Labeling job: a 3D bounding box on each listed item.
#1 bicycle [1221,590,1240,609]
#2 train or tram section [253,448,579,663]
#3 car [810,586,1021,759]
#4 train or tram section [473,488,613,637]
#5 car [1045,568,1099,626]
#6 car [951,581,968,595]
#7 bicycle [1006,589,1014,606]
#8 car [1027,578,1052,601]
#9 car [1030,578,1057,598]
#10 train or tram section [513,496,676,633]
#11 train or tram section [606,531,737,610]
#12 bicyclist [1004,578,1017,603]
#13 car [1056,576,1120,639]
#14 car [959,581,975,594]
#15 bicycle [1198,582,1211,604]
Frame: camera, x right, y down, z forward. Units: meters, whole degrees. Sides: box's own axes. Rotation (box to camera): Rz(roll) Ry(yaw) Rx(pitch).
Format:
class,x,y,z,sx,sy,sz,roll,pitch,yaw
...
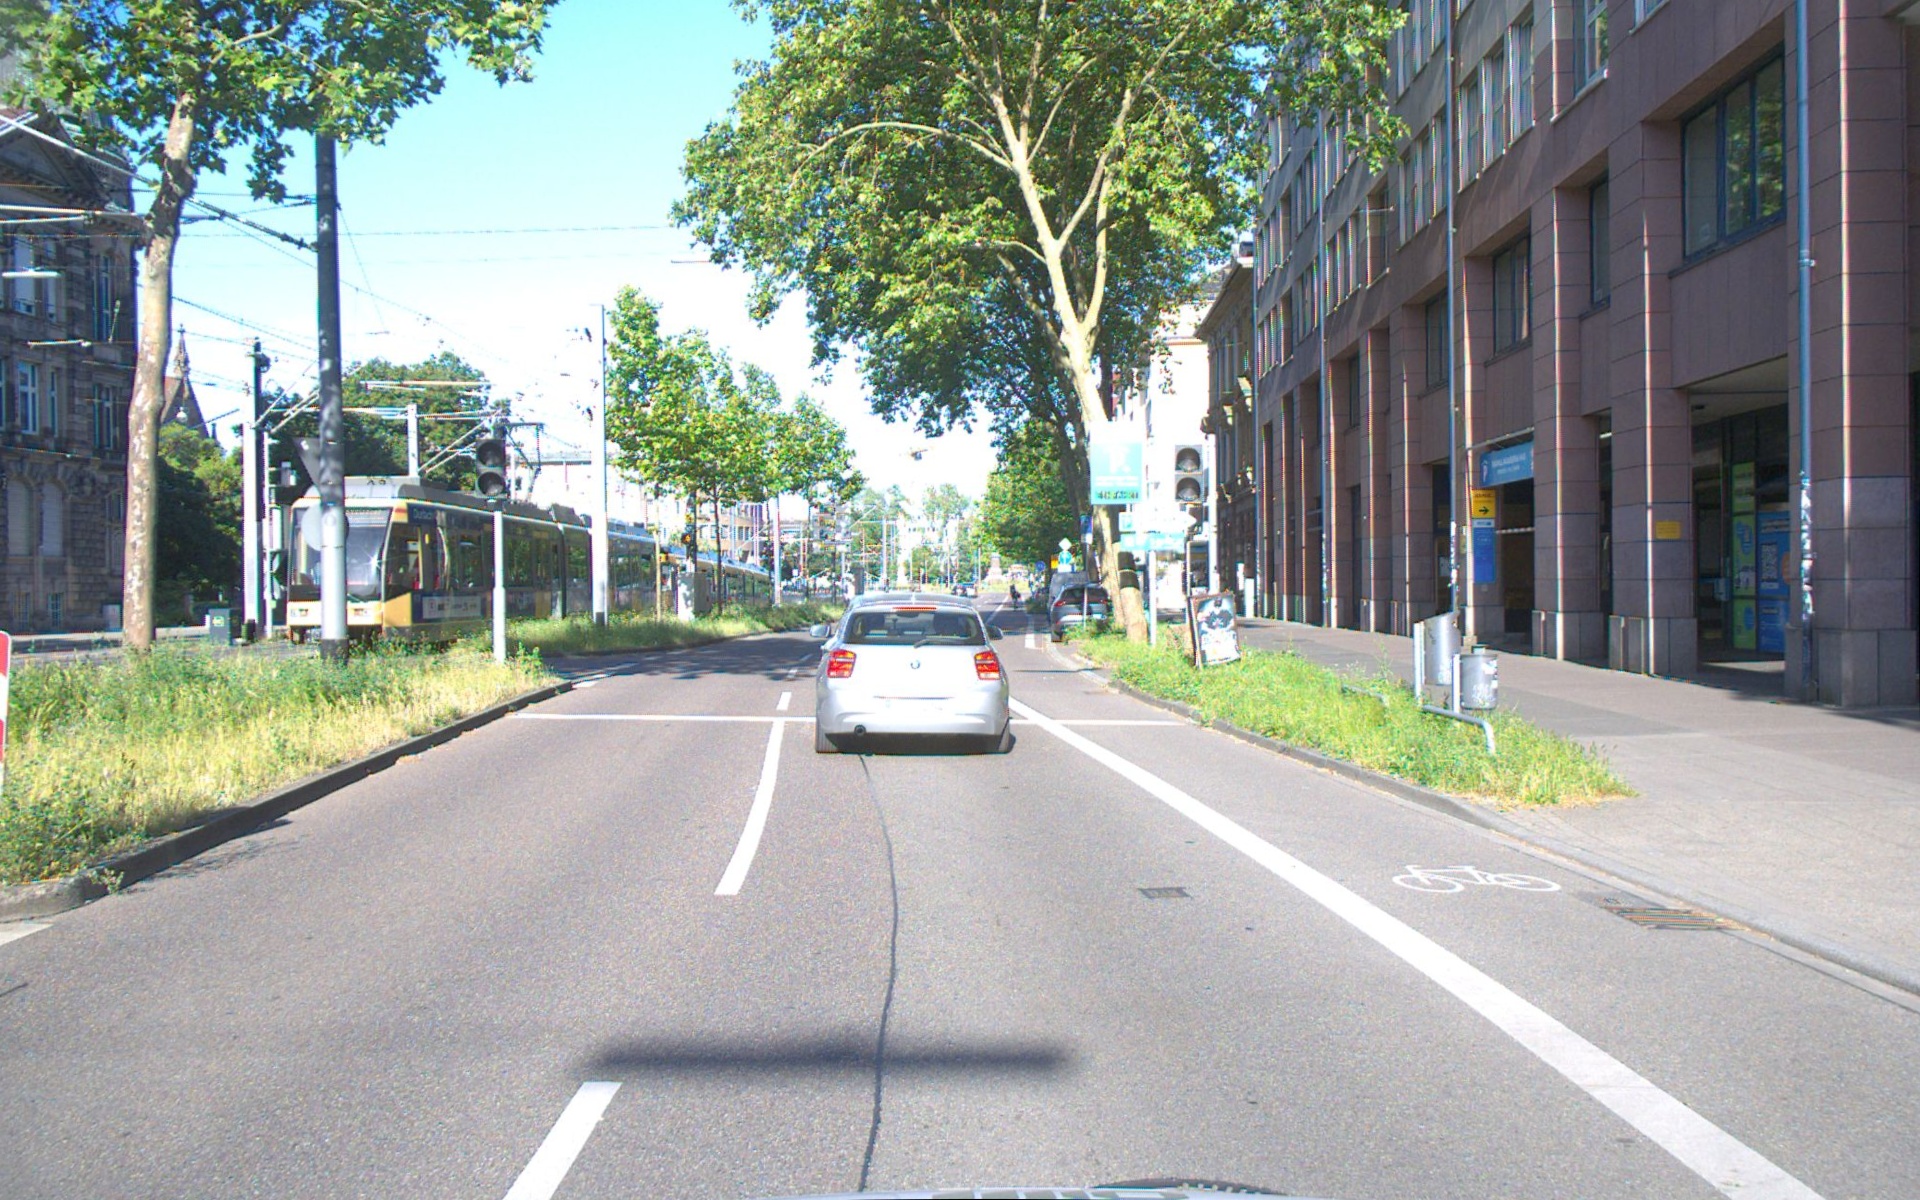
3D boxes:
class,x,y,z,sx,sy,sz,roll,pitch,yaw
bicycle,11.413,-0.033,69.862,0.537,0.787,1.663,-2,0,2
train or tram section,-11.598,-0.880,37.417,2.869,3.878,14.270,1,0,-1
car,-0.428,0.598,16.016,1.761,1.439,3.999,1,0,-2
train or tram section,-11.660,-1.017,46.547,2.894,3.965,3.866,1,0,0
car,4.120,-0.134,61.493,1.817,2.049,4.725,1,0,2
car,-0.069,-1.309,176.295,1.691,1.496,4.410,0,0,0
bicycle,3.248,-0.174,106.455,0.489,1.107,1.998,1,0,2
car,5.765,-0.757,120.186,1.659,1.528,3.802,-3,1,2
car,6.440,-0.930,127.763,1.996,1.535,4.595,0,1,2
train or tram section,-11.657,-1.081,53.938,2.892,3.965,10.802,1,0,0
train or tram section,-14.566,-1.496,85.814,2.902,3.544,21.220,1,1,0
bicyclist,3.248,-0.604,106.555,0.769,1.558,0.895,1,0,2
car,3.425,0.184,44.794,1.633,1.598,4.282,1,0,3
car,0.811,-1.391,184.612,1.610,1.446,4.001,1,0,2
bicycle,11.412,-0.338,77.306,0.406,1.015,1.883,0,0,2
